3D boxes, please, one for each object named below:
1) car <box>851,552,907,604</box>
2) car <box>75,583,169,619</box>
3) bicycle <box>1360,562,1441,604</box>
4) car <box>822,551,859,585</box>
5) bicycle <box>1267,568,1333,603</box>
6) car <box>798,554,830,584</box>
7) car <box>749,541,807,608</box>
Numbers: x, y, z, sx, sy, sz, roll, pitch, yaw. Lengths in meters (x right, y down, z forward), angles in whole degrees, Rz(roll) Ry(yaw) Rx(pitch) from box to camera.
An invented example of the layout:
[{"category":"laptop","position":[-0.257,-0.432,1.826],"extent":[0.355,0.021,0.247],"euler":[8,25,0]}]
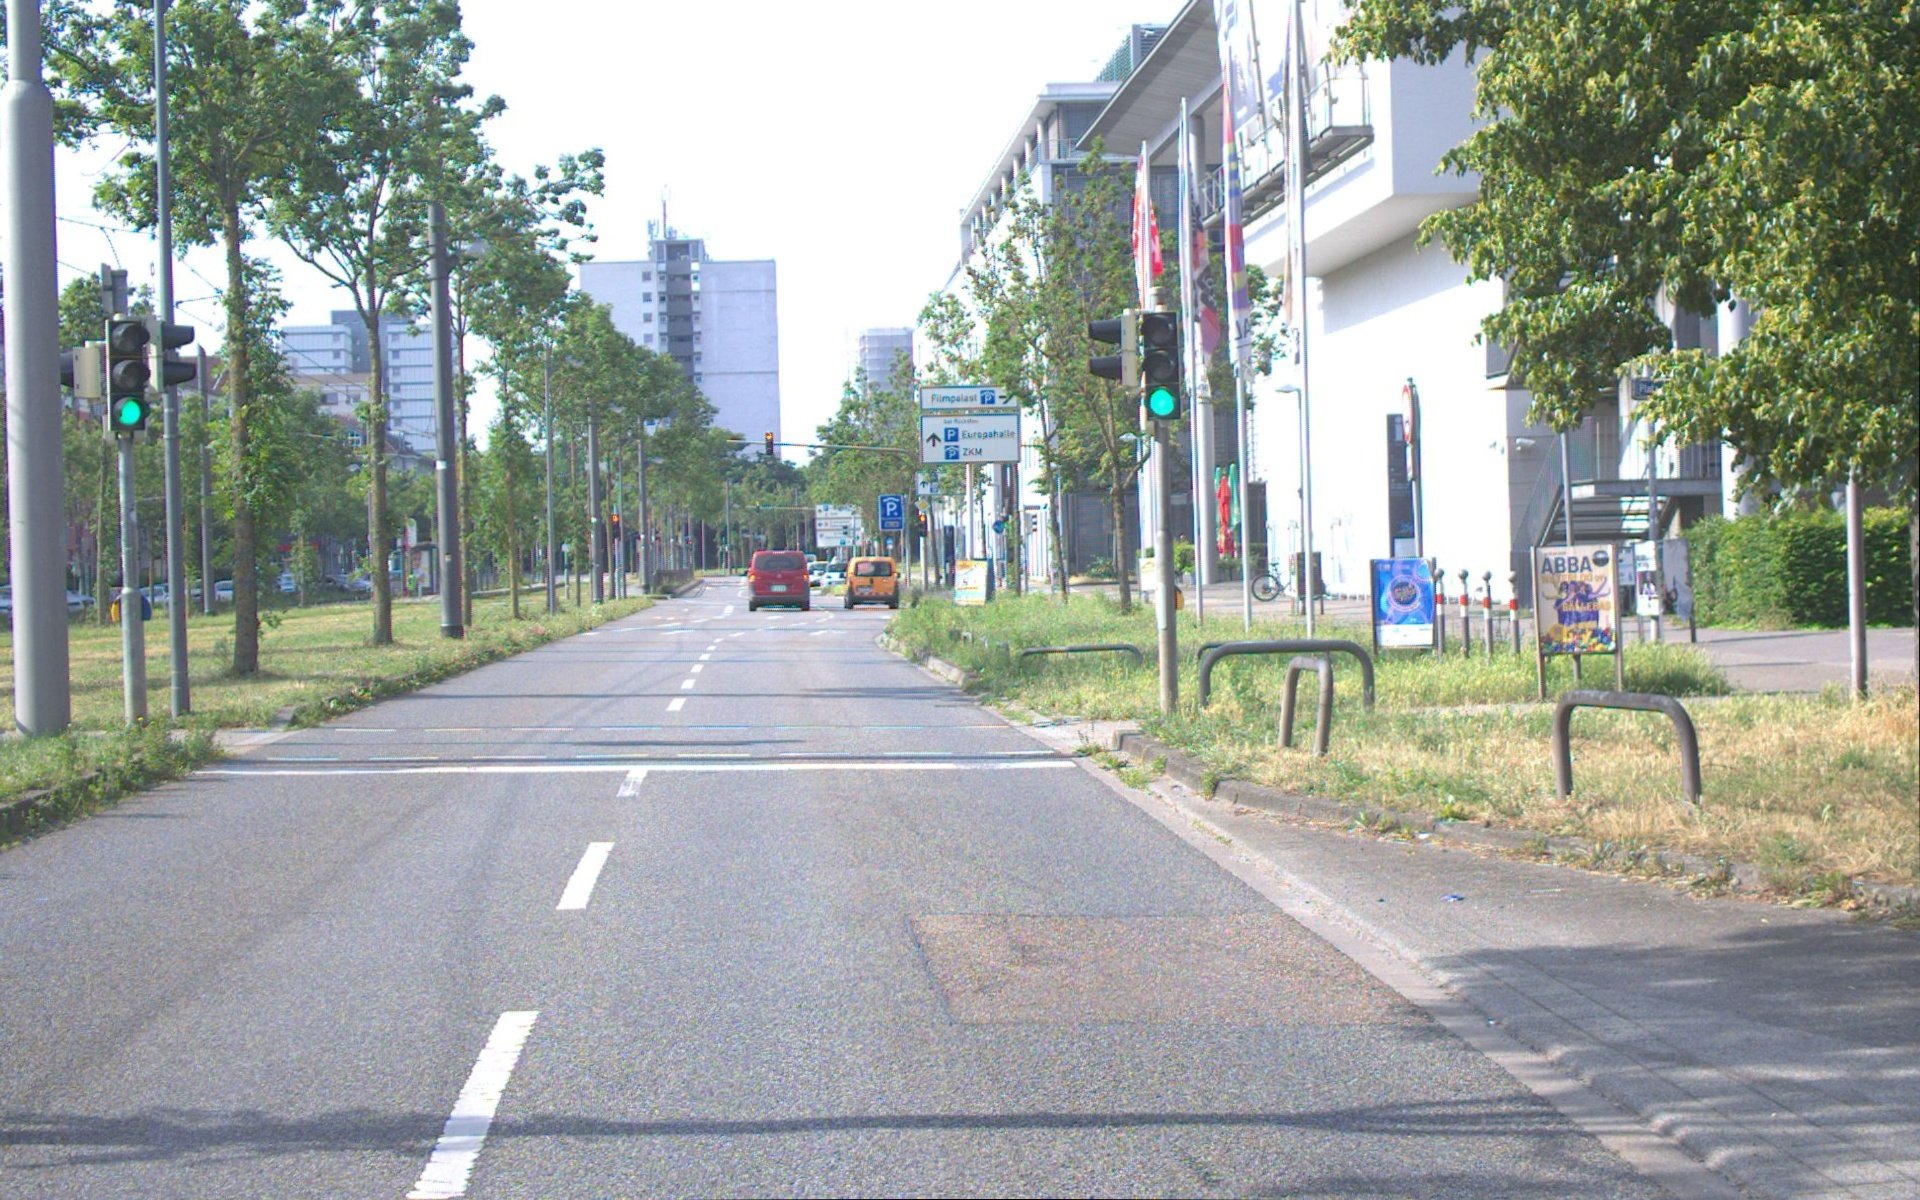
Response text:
[{"category":"car","position":[-2.666,-0.718,112.404],"extent":[1.748,1.645,3.216],"euler":[1,1,-2]},{"category":"car","position":[-38.288,0.049,157.060],"extent":[3.992,1.590,1.653],"euler":[1,1,23]},{"category":"bicycle","position":[9.433,-0.369,73.624],"extent":[1.621,0.885,0.551],"euler":[1,0,-4]},{"category":"car","position":[-5.788,-1.550,166.742],"extent":[1.748,1.645,3.216],"euler":[1,1,-2]},{"category":"bicycle","position":[8.741,-0.375,88.402],"extent":[1.621,0.885,0.551],"euler":[1,0,-4]},{"category":"car","position":[-8.186,-1.718,192.828],"extent":[1.748,1.645,3.216],"euler":[1,1,-2]},{"category":"car","position":[-5.634,-0.791,106.529],"extent":[1.748,2.007,3.216],"euler":[1,1,-2]}]
